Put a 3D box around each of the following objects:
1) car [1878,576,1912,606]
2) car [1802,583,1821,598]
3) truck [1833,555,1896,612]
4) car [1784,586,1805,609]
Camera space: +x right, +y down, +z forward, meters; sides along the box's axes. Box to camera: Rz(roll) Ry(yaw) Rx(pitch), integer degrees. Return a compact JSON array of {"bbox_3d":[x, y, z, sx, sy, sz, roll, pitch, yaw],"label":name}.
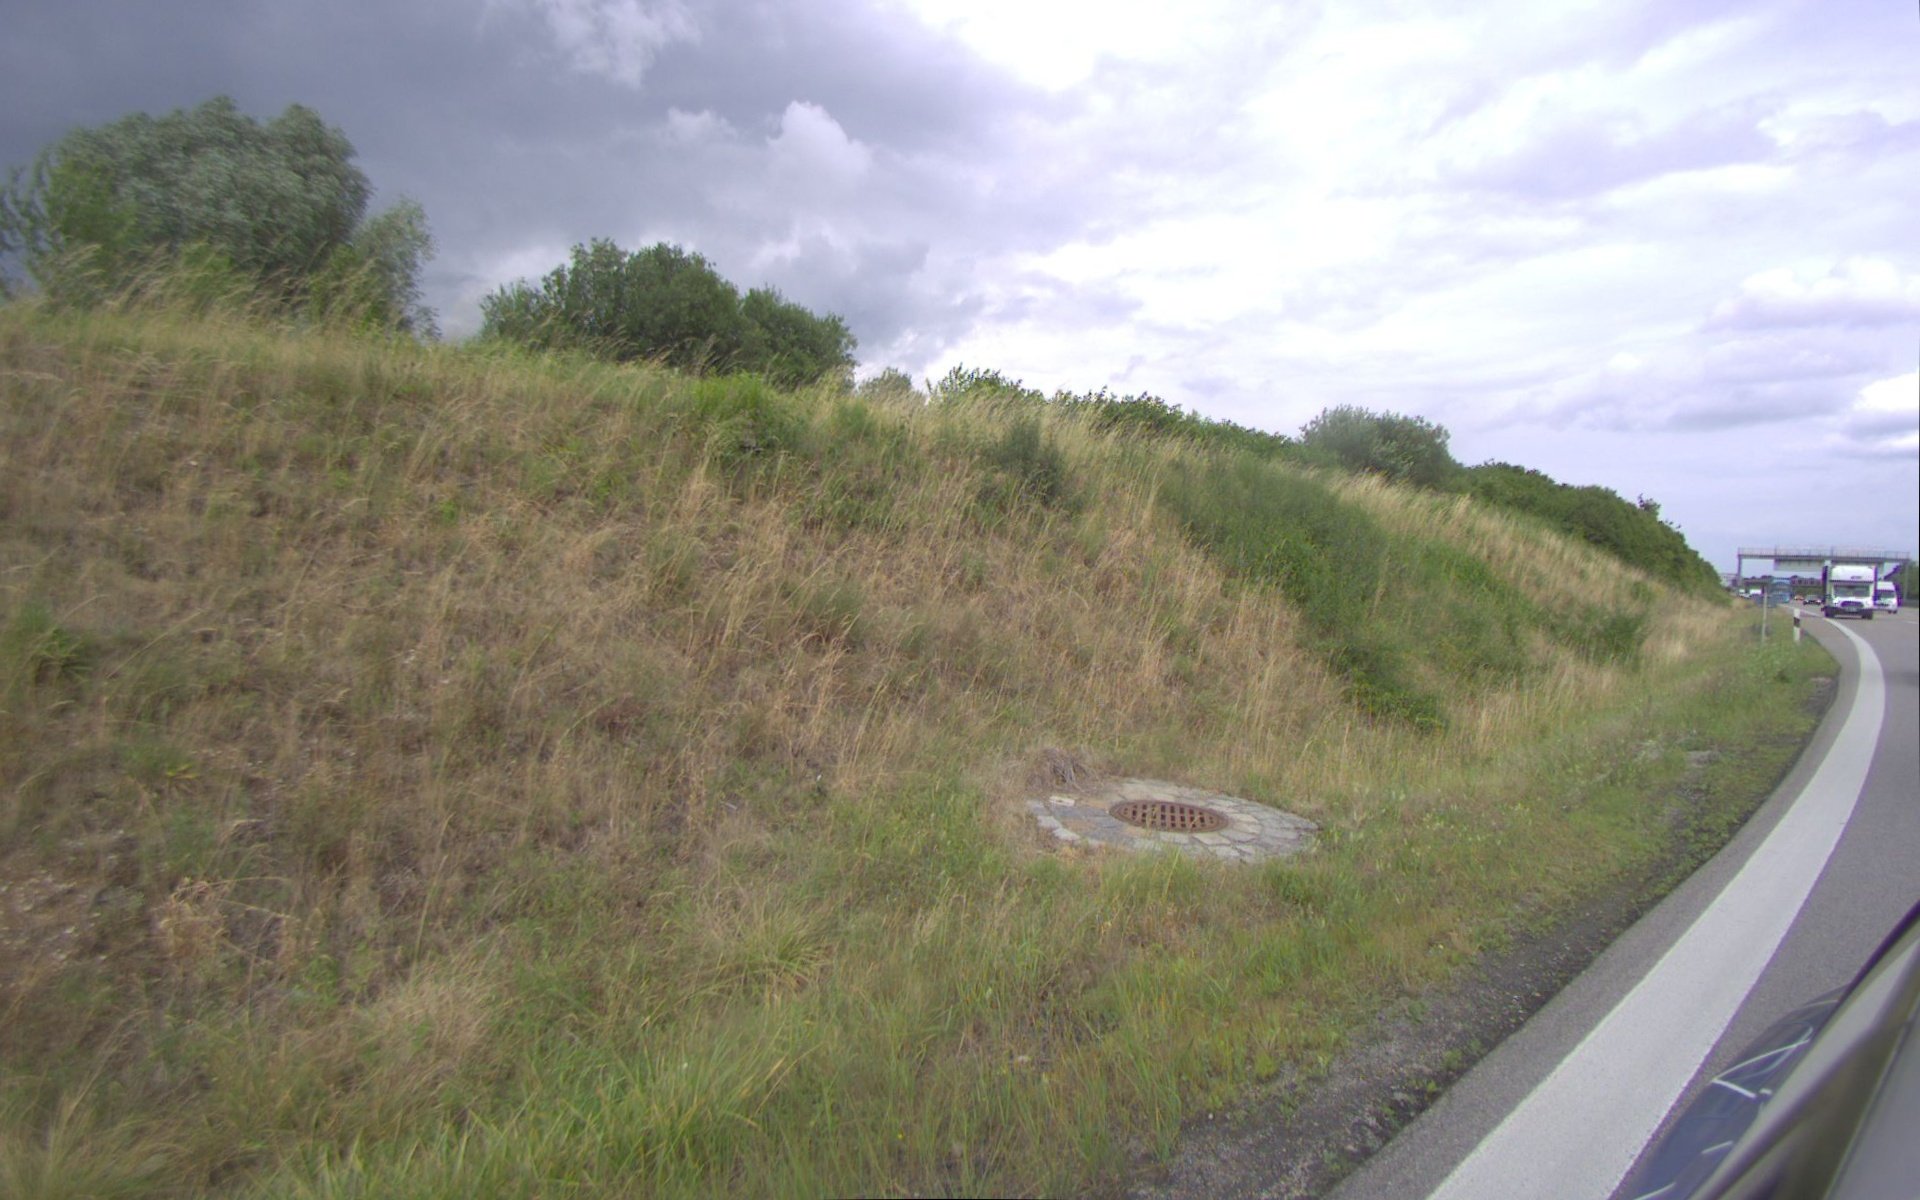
[{"bbox_3d":[79.190,-0.795,85.723,1.992,2.425,3.941,0,1,41],"label":"car"},{"bbox_3d":[121.622,-1.322,144.594,1.990,2.038,3.944,2,2,39],"label":"car"},{"bbox_3d":[55.022,-1.019,61.672,2.439,3.275,7.089,2,2,39],"label":"truck"},{"bbox_3d":[141.926,-0.465,172.069,2.494,3.757,7.595,2,2,38],"label":"car"}]
